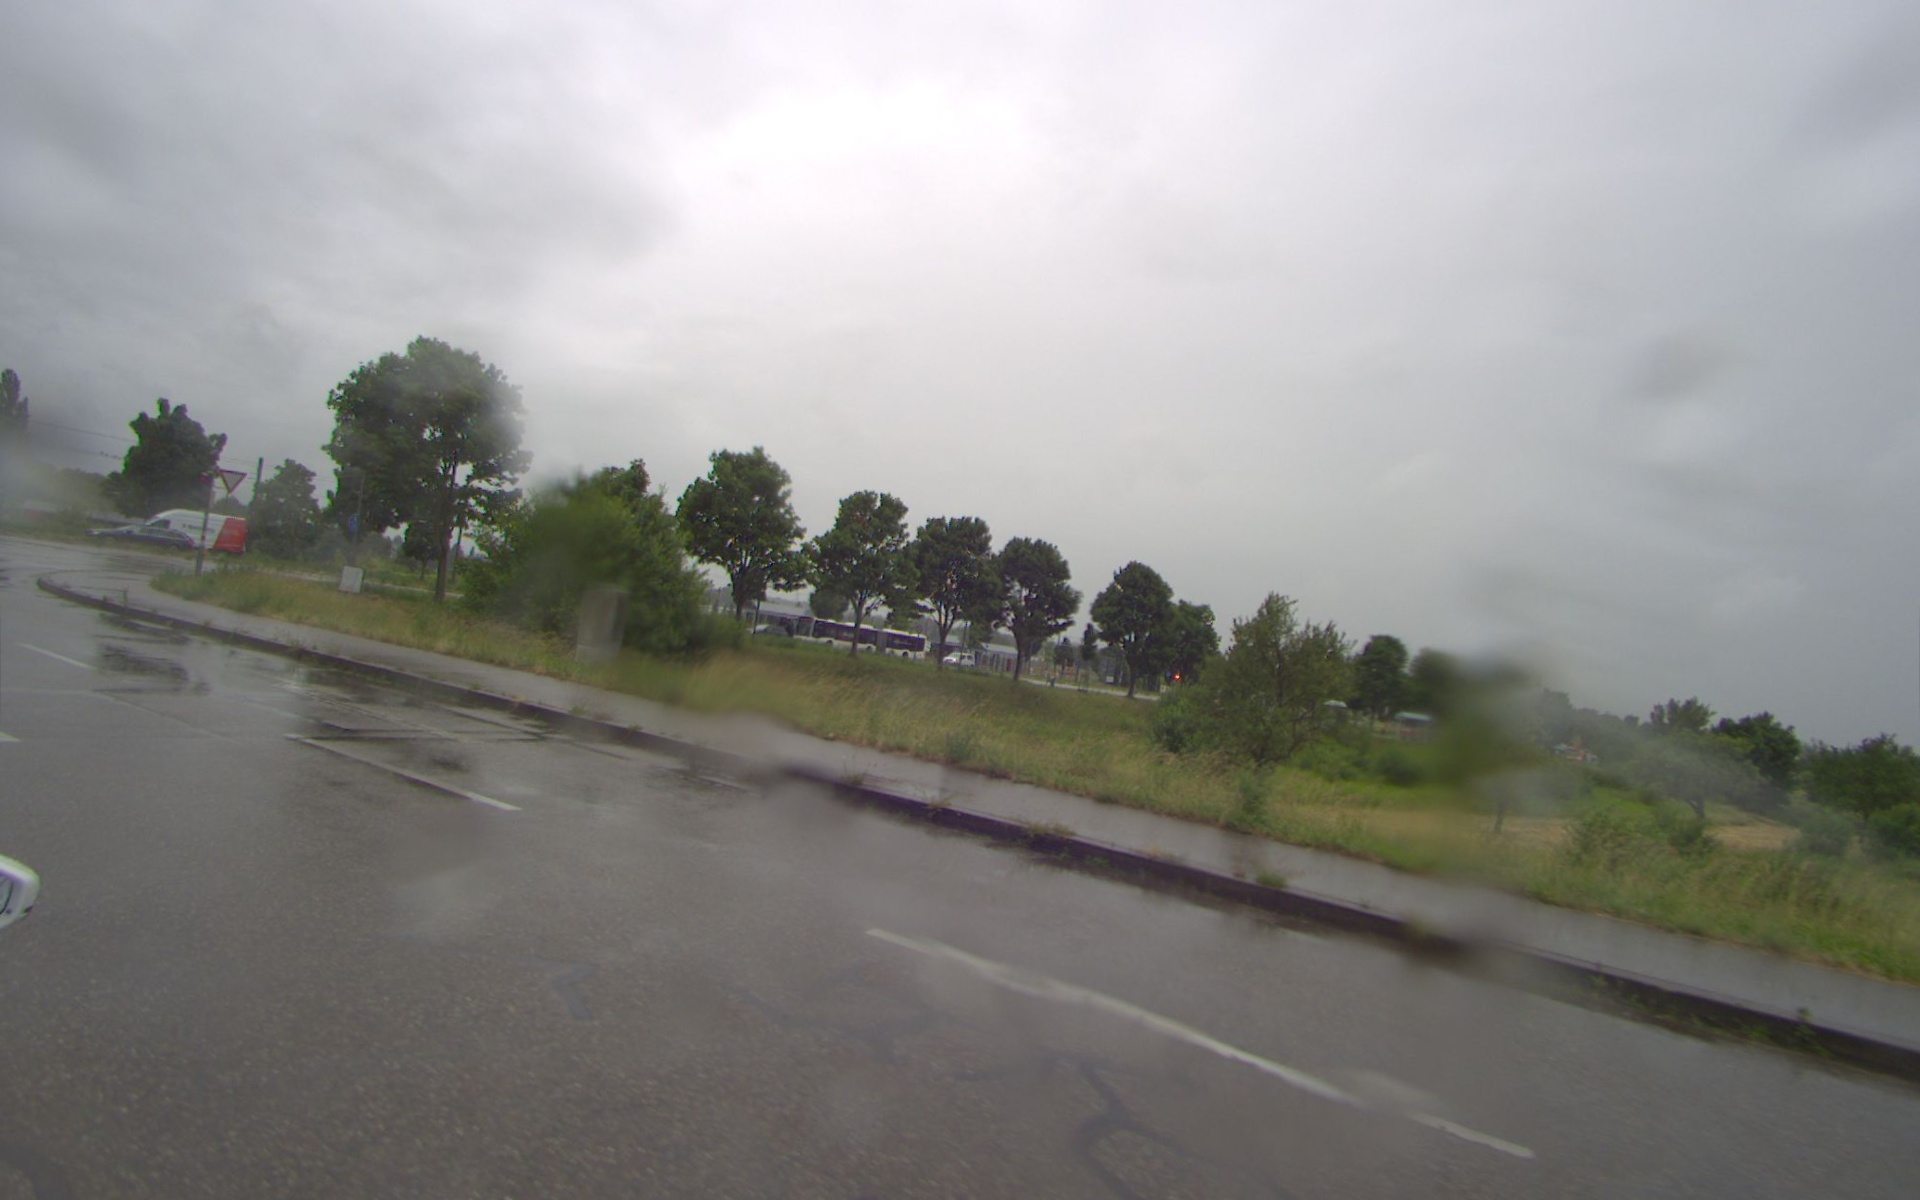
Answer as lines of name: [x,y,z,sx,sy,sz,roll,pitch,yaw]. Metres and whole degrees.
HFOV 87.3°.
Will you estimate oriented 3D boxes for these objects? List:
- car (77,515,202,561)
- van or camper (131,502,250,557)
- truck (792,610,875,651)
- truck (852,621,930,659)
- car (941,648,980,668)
car: [-43.159,-3.253,53.032,1.794,1.571,4.675,7,-2,35]
van or camper: [-43.714,-3.991,57.246,2.129,2.193,4.849,7,-3,40]
truck: [-12.542,3.067,100.481,2.615,2.863,8.831,8,-3,36]
truck: [-7.270,4.363,107.812,2.615,2.802,9.334,8,-3,37]
car: [0.091,6.444,111.246,1.794,1.570,4.679,7,-4,35]
